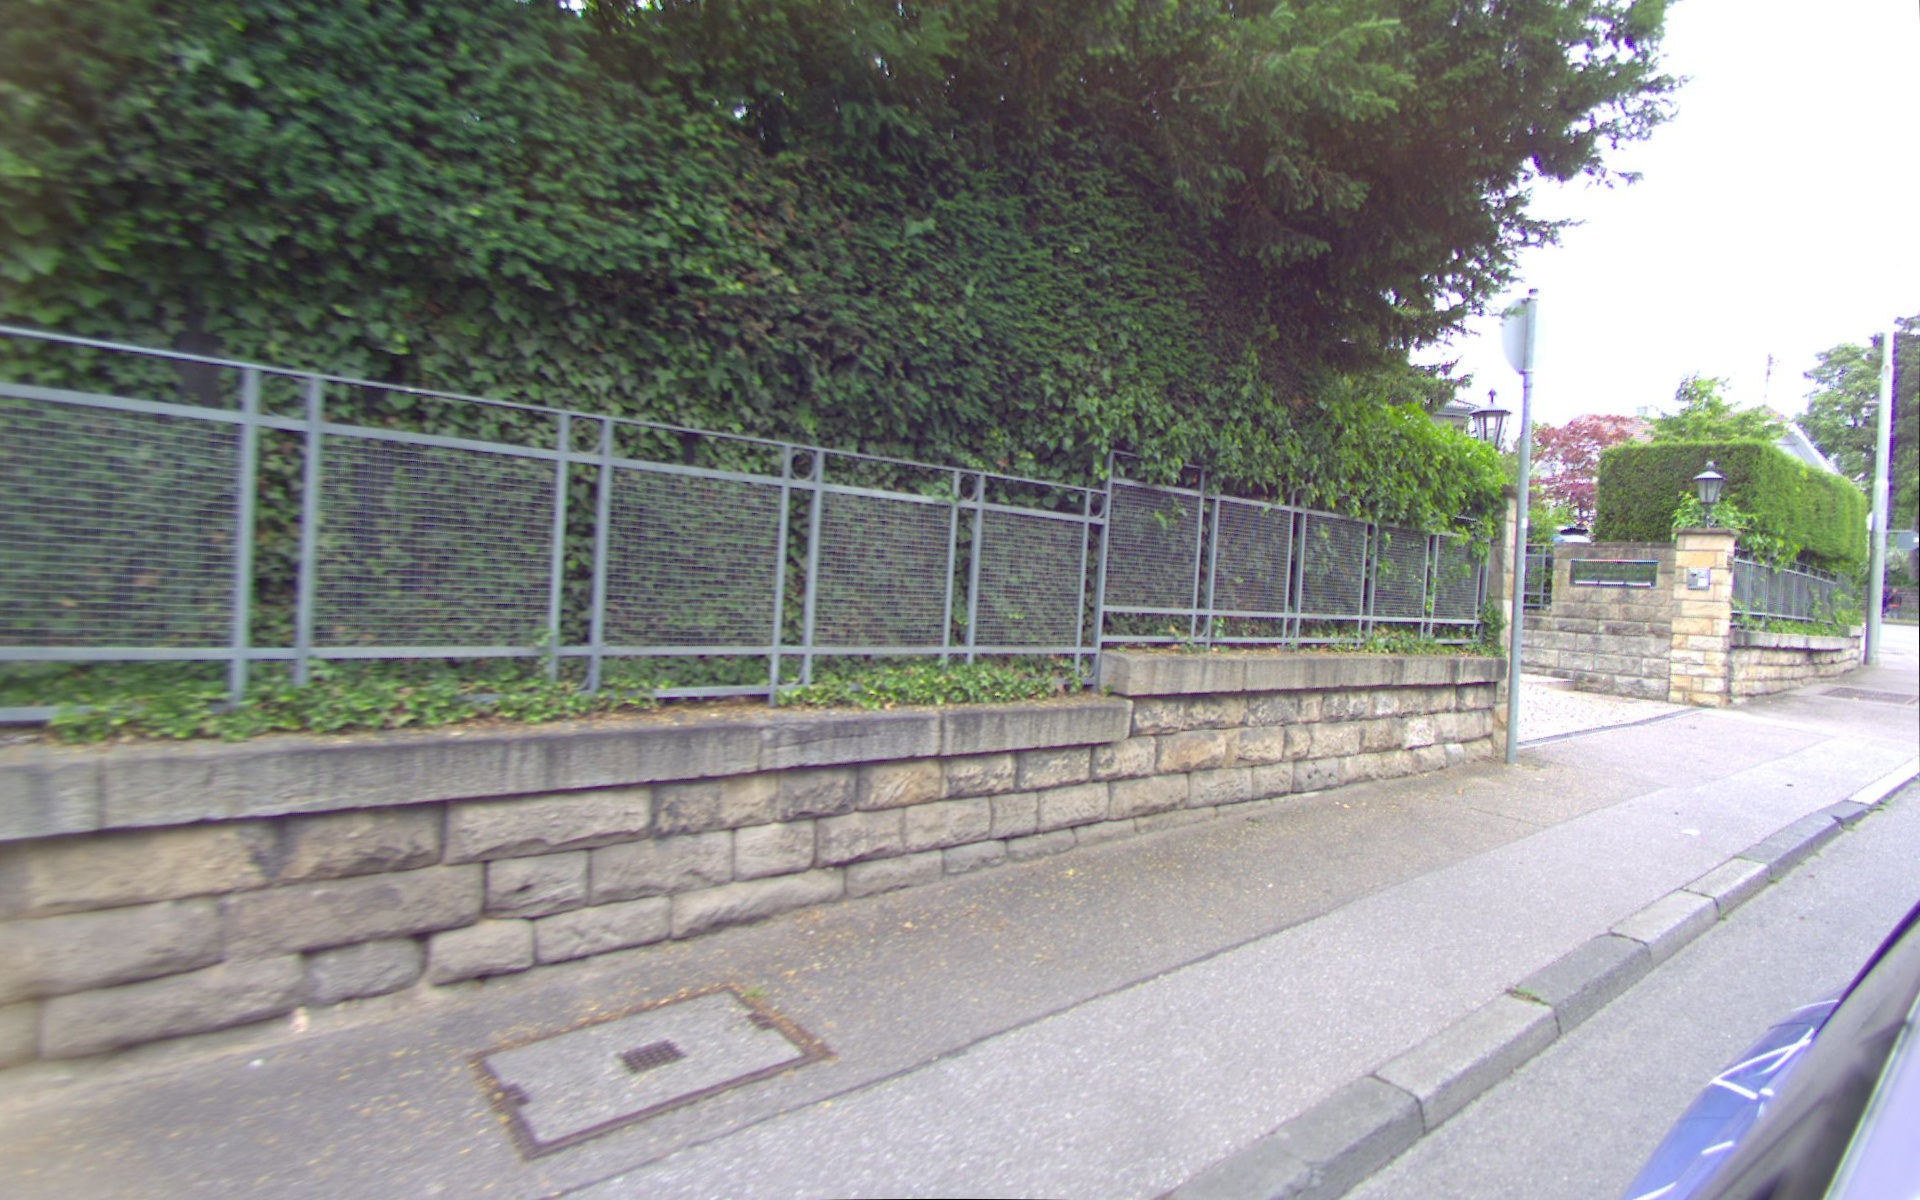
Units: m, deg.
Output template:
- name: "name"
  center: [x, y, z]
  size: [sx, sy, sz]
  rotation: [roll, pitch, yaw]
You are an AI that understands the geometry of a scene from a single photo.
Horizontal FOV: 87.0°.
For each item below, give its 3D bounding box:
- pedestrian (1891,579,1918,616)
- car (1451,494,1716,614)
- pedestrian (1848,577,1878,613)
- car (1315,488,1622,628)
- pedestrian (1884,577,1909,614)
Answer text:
- name: "pedestrian"
  center: [47.444, -0.143, 50.836]
  size: [0.600, 1.809, 0.668]
  rotation: [2, 2, -15]
- name: "car"
  center: [11.785, -0.934, 19.324]
  size: [1.782, 1.629, 3.755]
  rotation: [0, 11, -40]
- name: "pedestrian"
  center: [47.601, -0.279, 53.369]
  size: [0.862, 1.836, 0.689]
  rotation: [2, 2, -11]
- name: "car"
  center: [8.419, -0.778, 17.045]
  size: [1.965, 1.629, 4.004]
  rotation: [0, 11, -40]
- name: "pedestrian"
  center: [48.429, -0.242, 52.332]
  size: [0.591, 1.857, 0.614]
  rotation: [2, 2, -13]
